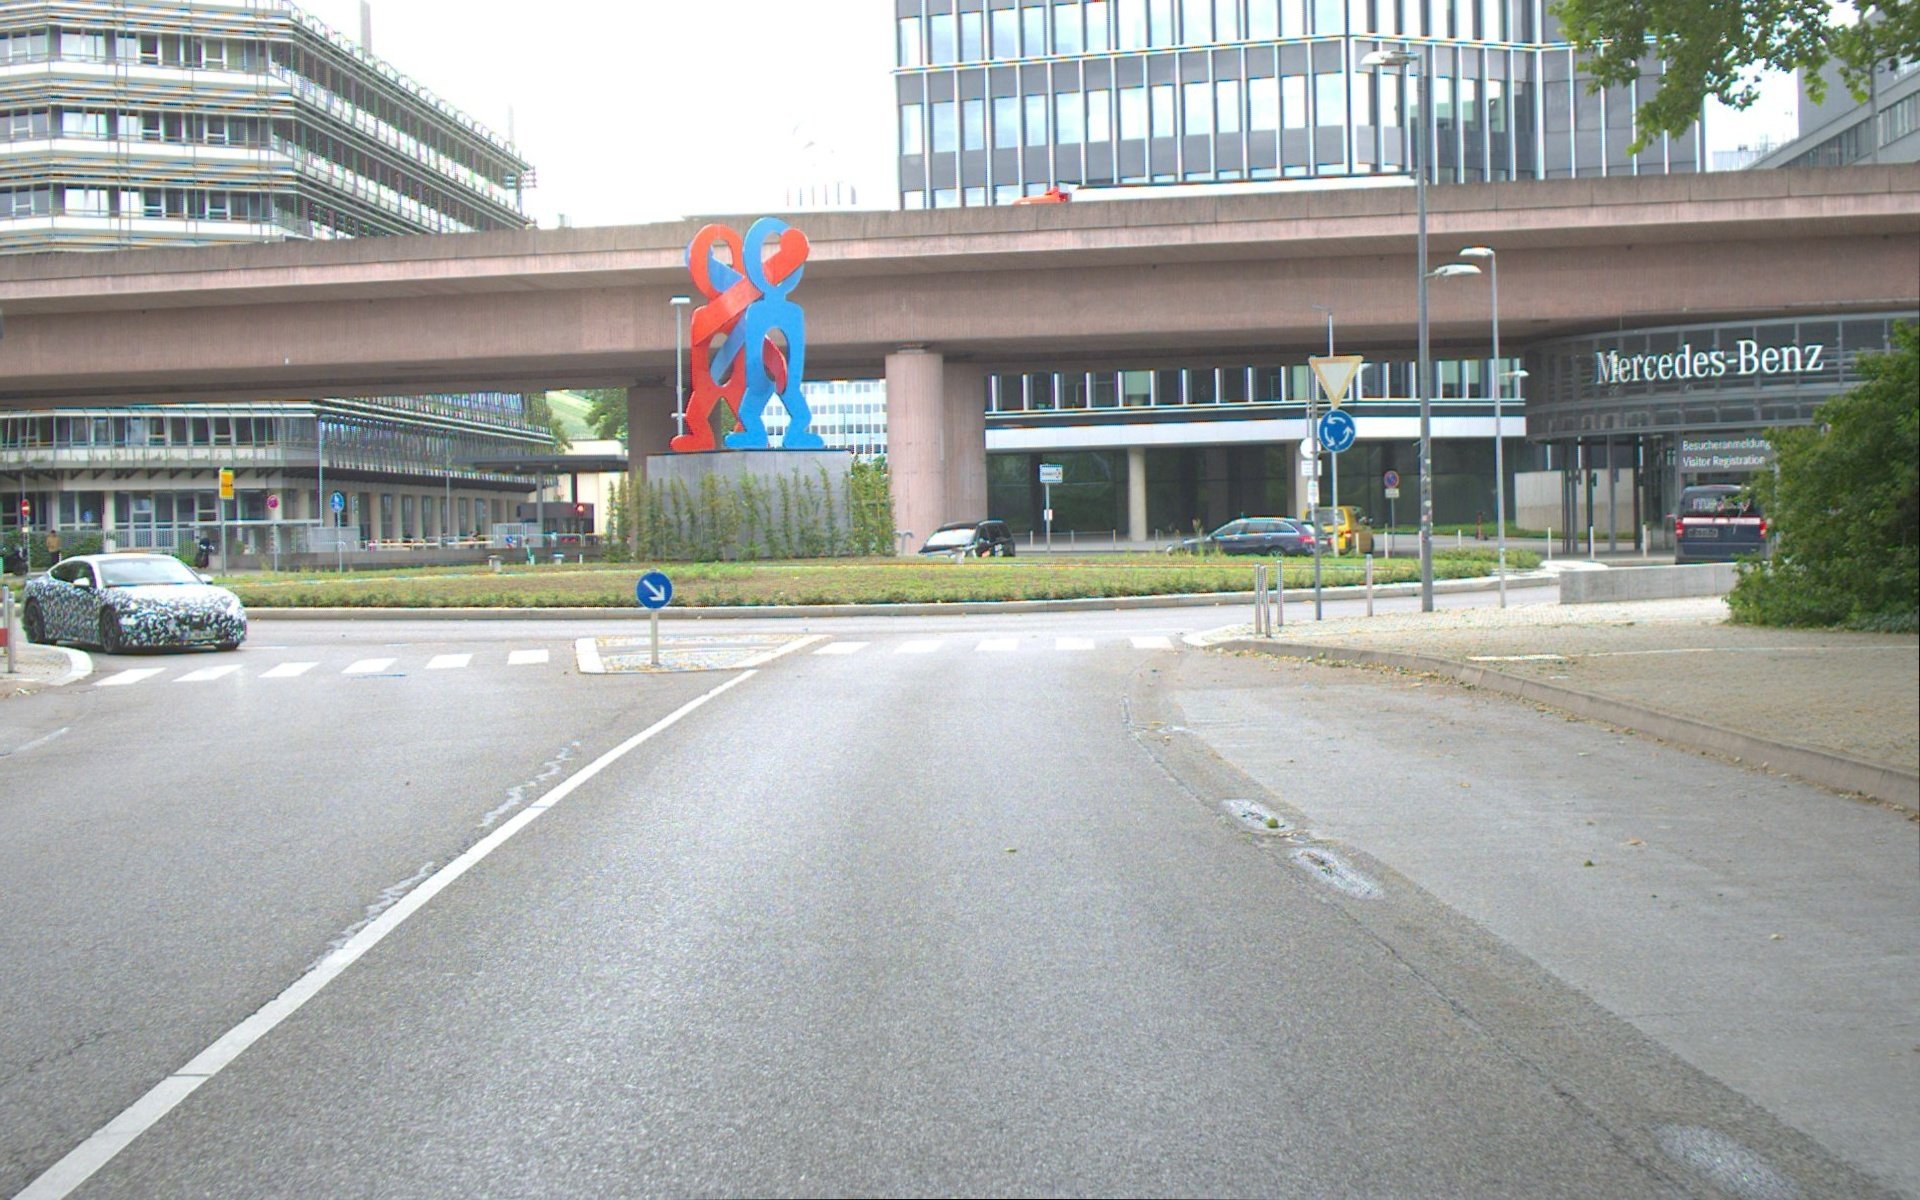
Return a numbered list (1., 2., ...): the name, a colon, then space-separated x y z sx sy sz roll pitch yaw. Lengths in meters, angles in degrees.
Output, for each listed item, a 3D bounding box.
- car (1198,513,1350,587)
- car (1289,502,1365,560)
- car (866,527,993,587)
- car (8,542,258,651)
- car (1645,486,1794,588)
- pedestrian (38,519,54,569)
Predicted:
1. car: 8.371 -1.335 91.583 3.724 1.919 1.920 0 1 16
2. car: 12.900 -2.411 120.568 1.995 2.007 3.997 0 1 16
3. car: -0.895 -1.289 103.060 1.997 1.766 3.993 0 1 32
4. car: -12.337 -0.061 51.084 1.901 1.448 4.814 -4 2 -35
5. car: 15.562 -1.285 70.260 2.278 2.007 4.778 0 1 21
6. pedestrian: -36.852 -2.262 138.546 0.588 2.007 0.599 0 1 -13
